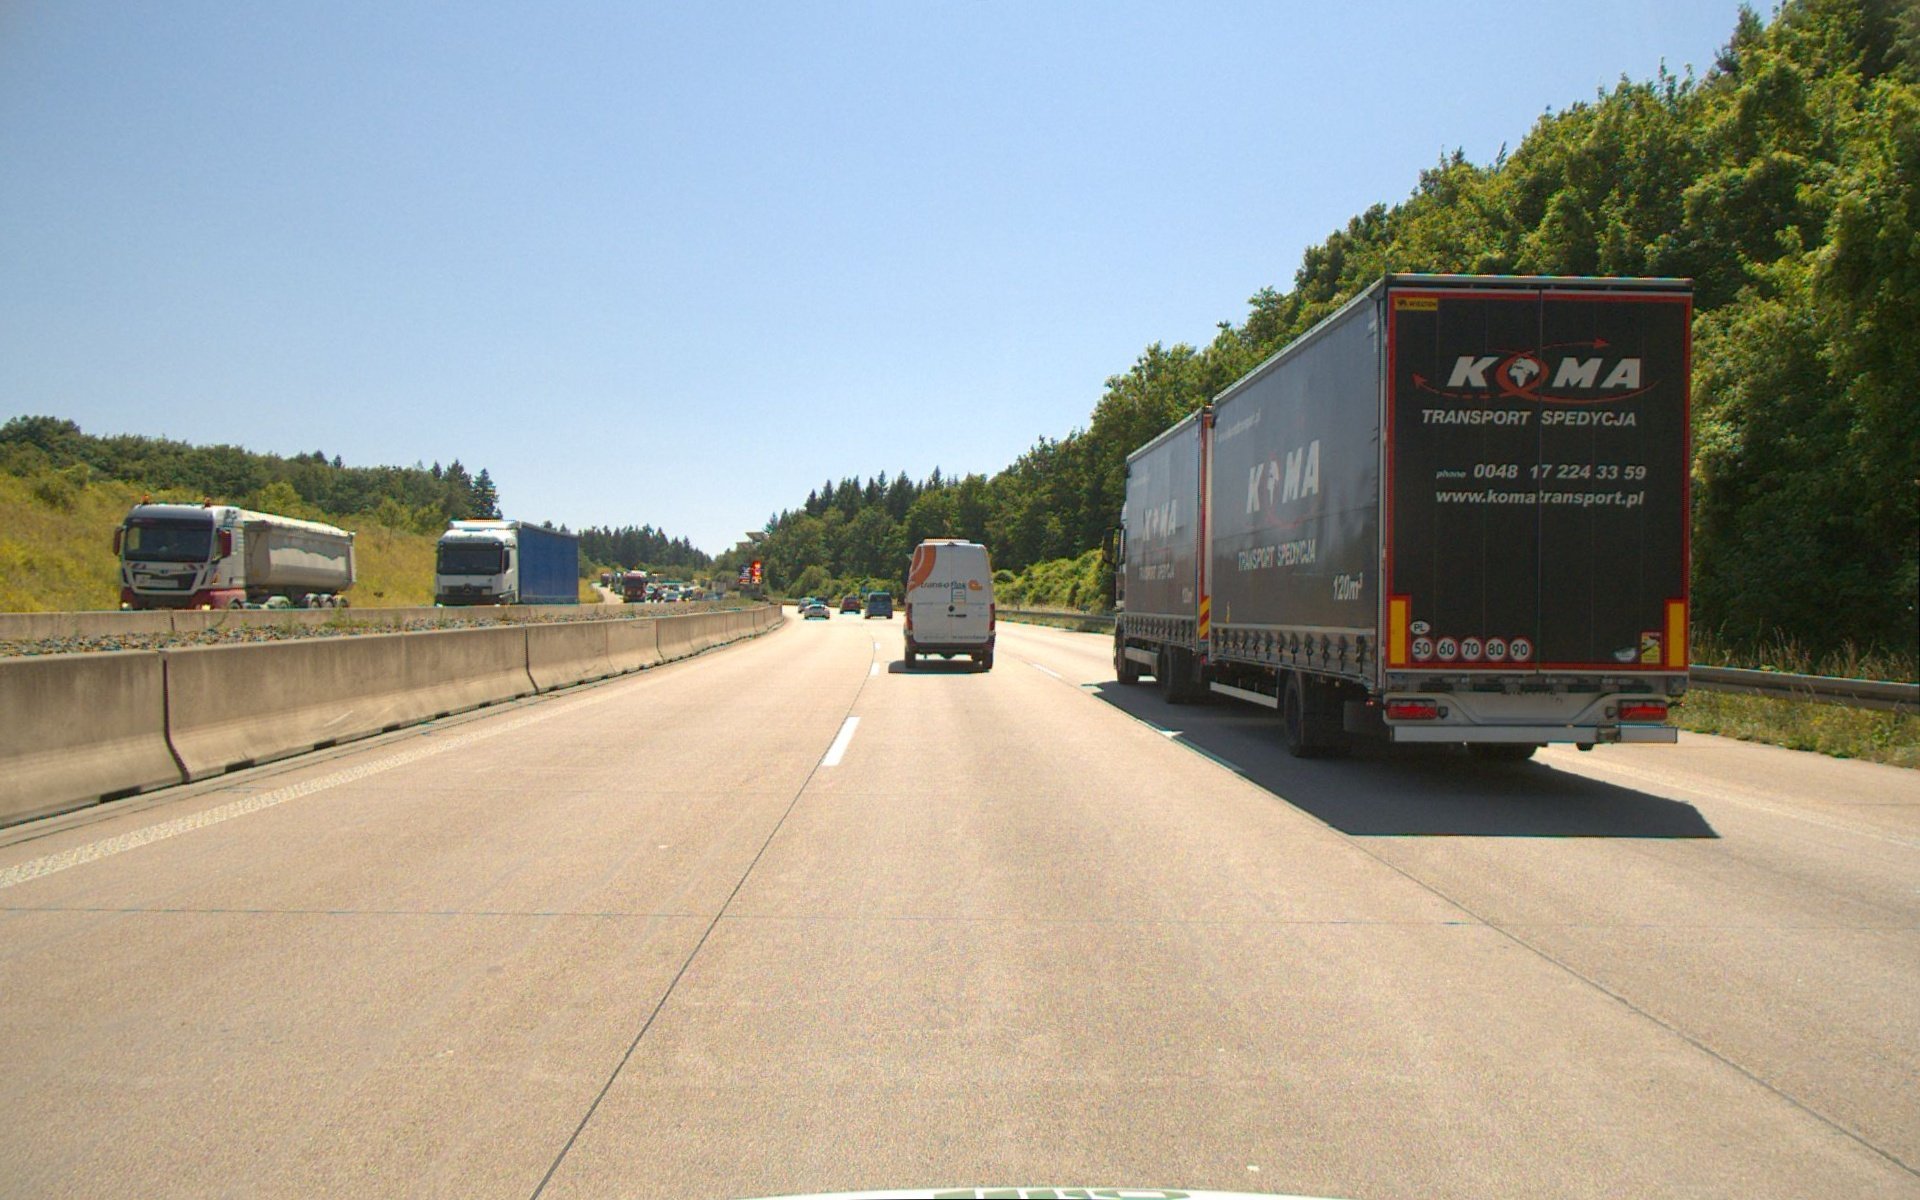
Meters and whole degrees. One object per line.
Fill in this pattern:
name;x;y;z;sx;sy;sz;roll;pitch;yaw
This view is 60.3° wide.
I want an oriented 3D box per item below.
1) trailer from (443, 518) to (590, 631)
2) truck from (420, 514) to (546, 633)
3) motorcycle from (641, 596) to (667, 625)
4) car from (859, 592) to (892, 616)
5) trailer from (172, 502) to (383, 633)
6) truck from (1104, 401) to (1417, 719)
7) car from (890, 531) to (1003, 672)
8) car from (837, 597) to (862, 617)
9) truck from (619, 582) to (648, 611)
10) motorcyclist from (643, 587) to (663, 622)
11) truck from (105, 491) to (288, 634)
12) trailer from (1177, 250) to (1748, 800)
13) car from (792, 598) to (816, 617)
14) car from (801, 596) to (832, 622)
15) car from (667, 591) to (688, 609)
trailer;-17.938;-0.866;68.089;3.099;4.001;13.854;3;-1;-4
truck;-17.414;-0.905;60.815;3.099;4.001;5.831;3;-1;-4
motorcycle;-16.651;0.566;90.098;0.988;1.577;2.482;1;0;-3
car;-6.283;0.302;123.096;1.957;1.713;3.991;3;-1;-9
trailer;-20.372;-0.854;50.064;2.670;3.473;8.952;3;-1;-1
truck;4.390;-0.501;26.879;3.095;4.087;10.606;1;0;0
car;-0.391;0.008;37.180;2.182;2.894;5.450;1;0;-4
car;-10.479;0.664;156.719;1.957;1.713;3.991;3;-1;-9
truck;-38.677;-0.383;196.110;2.878;3.271;5.895;3;-1;-7
motorcyclist;-16.679;0.252;89.935;0.802;1.906;1.491;1;0;-3
truck;-20.231;-0.924;44.096;2.670;3.473;4.511;3;-1;-2
trailer;4.384;-0.548;16.996;3.070;4.087;9.087;1;0;0
car;-14.933;0.743;158.495;1.957;1.713;3.991;3;-1;-9
car;-10.375;0.641;119.399;1.956;1.713;3.994;3;-1;-7
car;-29.421;0.027;172.603;1.956;1.803;3.994;0;0;-7
